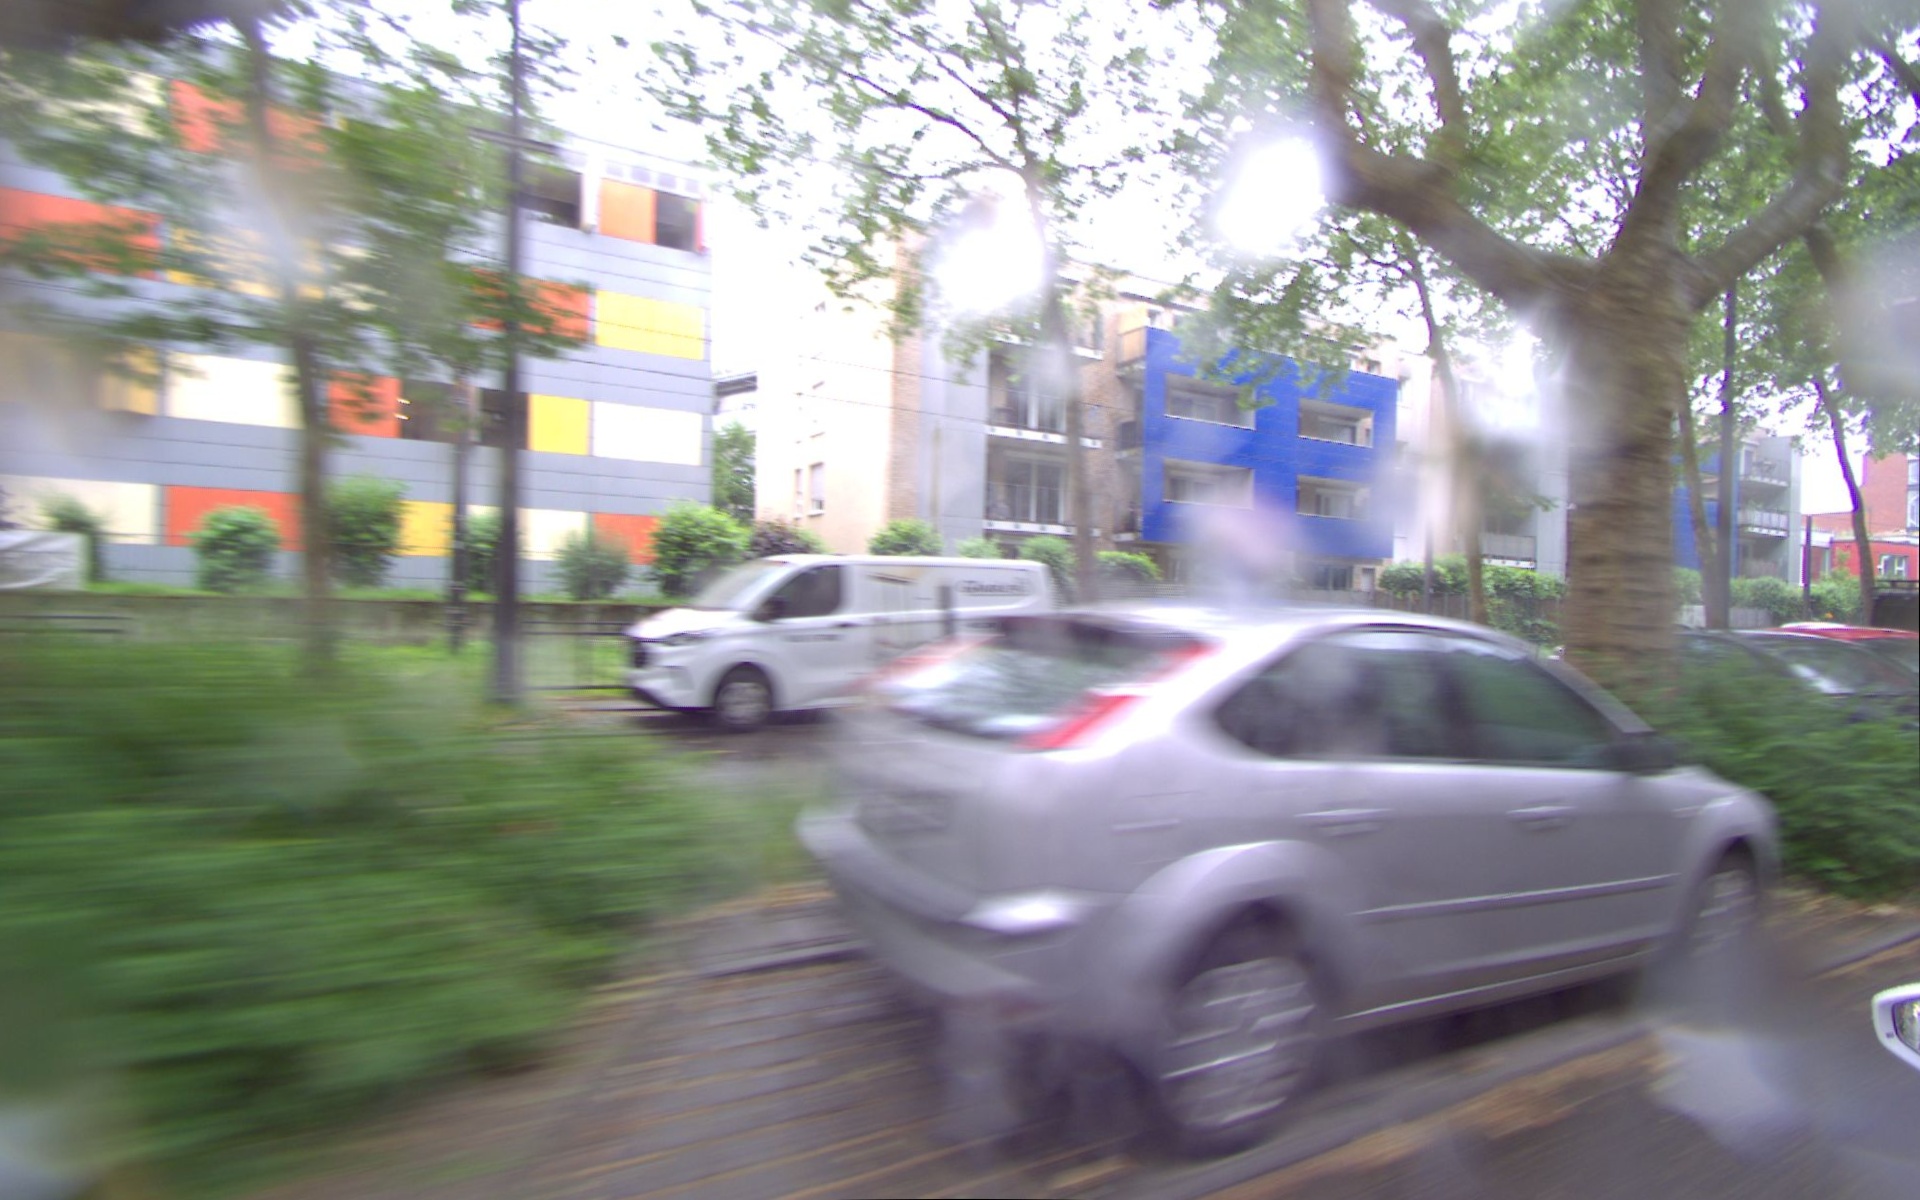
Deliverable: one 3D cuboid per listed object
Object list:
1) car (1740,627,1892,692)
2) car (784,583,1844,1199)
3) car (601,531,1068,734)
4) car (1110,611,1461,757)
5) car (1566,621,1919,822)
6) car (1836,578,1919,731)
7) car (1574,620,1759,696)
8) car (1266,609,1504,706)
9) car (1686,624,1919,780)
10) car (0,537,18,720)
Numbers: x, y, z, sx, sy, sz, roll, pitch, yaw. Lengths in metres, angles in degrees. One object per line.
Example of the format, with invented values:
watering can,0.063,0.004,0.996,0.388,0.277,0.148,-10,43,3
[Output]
car,22.568,1.496,26.449,4.168,1.554,1.894,1,-1,-32
car,1.573,0.753,4.009,4.158,1.535,1.721,1,0,-30
car,-1.400,0.343,12.398,5.377,2.024,2.041,1,1,-34
car,3.898,0.899,11.880,3.955,1.439,1.824,2,-1,-32
car,7.677,0.934,9.069,1.747,1.453,4.044,0,-2,-5
car,15.421,0.798,14.303,1.971,2.313,4.663,0,-2,3
car,16.045,1.238,22.776,4.371,1.554,1.894,1,-1,-32
car,7.642,0.954,17.983,4.168,1.554,1.894,1,-1,-32
car,9.769,0.986,10.492,1.747,1.455,3.503,0,-2,-2
car,-10.169,0.224,7.352,4.414,1.621,1.895,1,-1,-30
